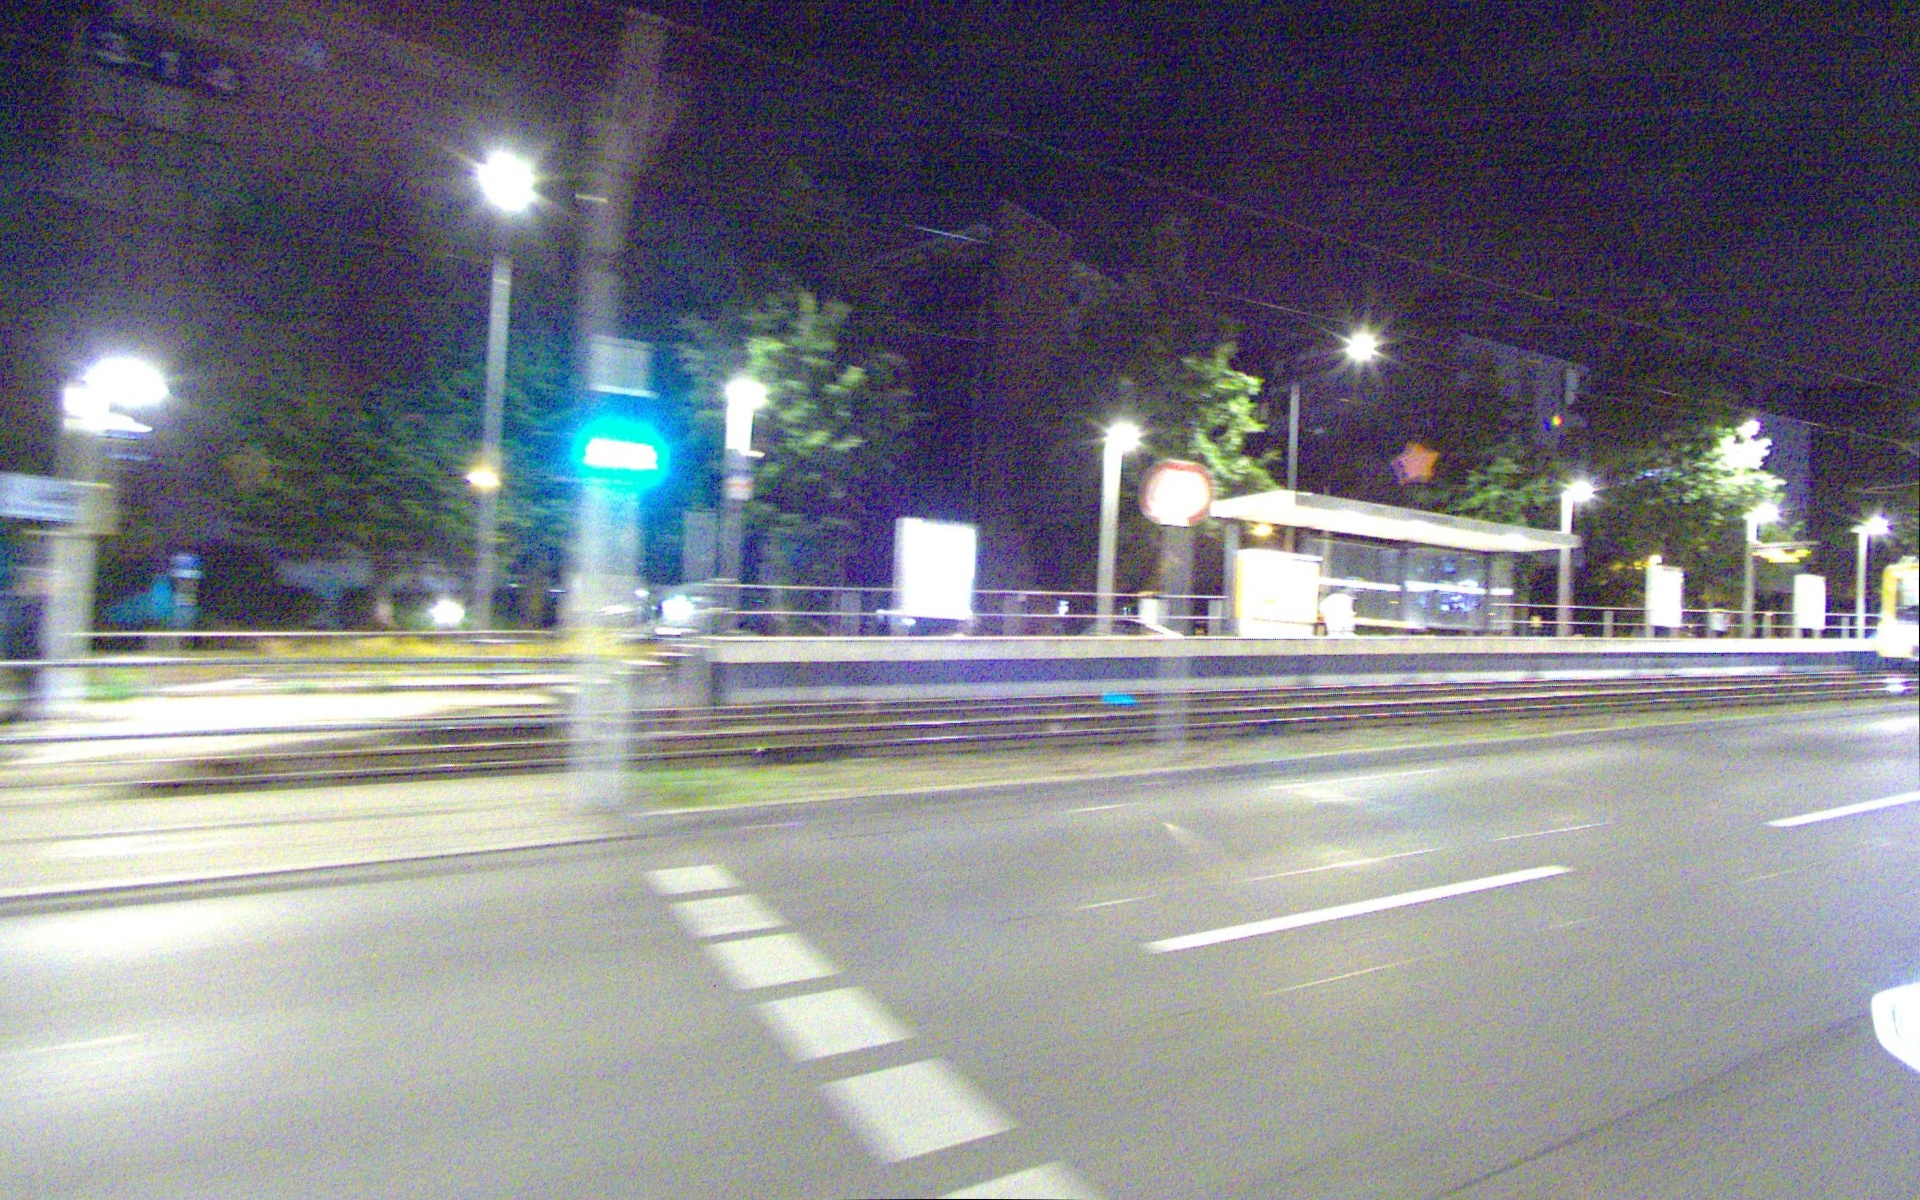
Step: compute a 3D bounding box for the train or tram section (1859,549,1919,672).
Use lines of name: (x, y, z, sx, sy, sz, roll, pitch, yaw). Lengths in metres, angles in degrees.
train or tram section: (38.781, 0.513, 36.508, 19.120, 3.897, 2.727, 1, 0, -28)

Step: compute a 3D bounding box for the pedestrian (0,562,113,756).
pedestrian: (-8.846, 0.543, 9.436, 0.804, 1.710, 1.057, 0, -2, 7)
